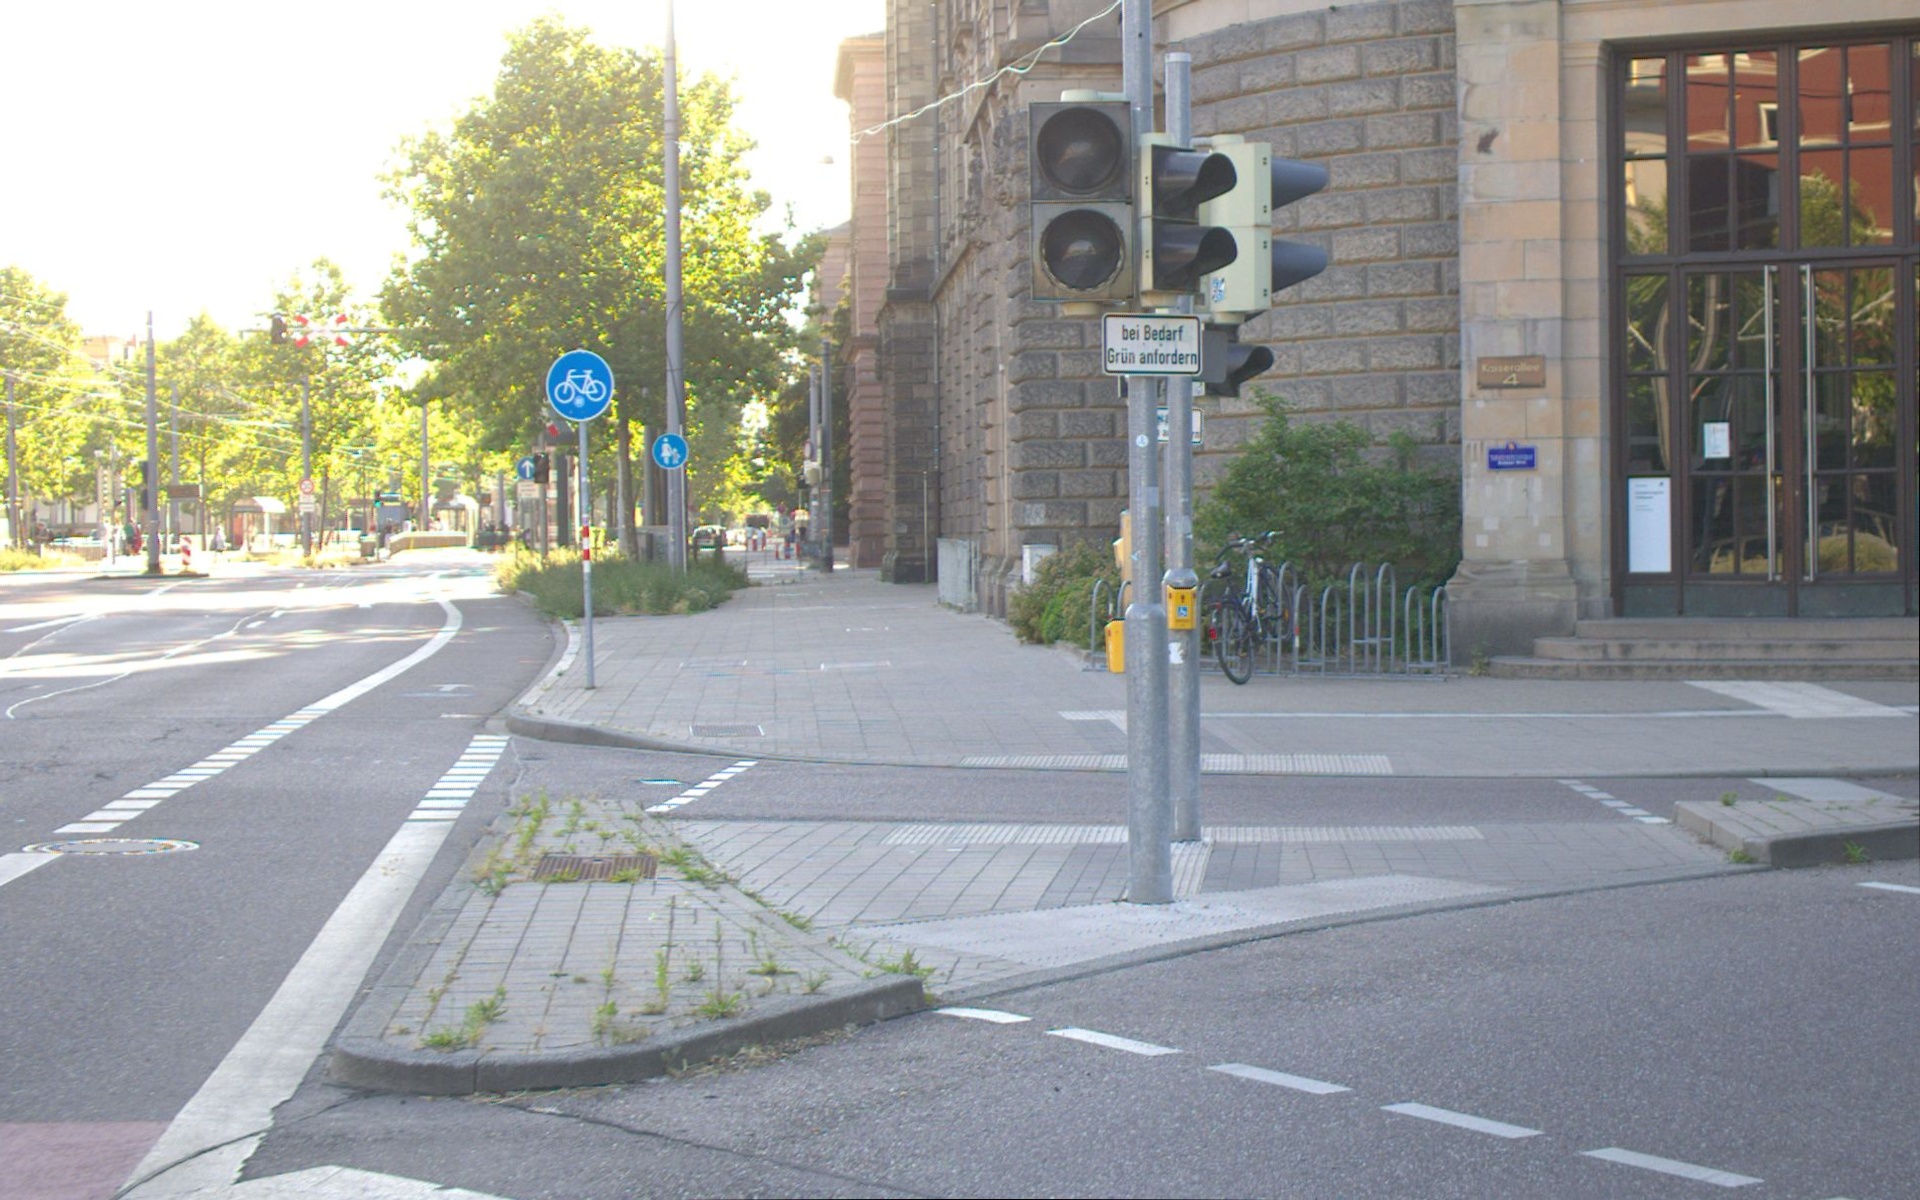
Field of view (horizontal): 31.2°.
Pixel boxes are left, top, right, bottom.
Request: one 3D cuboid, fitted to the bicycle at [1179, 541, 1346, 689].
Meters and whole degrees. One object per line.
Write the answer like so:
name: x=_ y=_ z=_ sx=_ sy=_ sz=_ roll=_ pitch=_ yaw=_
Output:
bicycle: x=2.600 y=0.111 z=29.282 sx=0.867 sy=1.192 sz=2.237 roll=0 pitch=1 yaw=20
